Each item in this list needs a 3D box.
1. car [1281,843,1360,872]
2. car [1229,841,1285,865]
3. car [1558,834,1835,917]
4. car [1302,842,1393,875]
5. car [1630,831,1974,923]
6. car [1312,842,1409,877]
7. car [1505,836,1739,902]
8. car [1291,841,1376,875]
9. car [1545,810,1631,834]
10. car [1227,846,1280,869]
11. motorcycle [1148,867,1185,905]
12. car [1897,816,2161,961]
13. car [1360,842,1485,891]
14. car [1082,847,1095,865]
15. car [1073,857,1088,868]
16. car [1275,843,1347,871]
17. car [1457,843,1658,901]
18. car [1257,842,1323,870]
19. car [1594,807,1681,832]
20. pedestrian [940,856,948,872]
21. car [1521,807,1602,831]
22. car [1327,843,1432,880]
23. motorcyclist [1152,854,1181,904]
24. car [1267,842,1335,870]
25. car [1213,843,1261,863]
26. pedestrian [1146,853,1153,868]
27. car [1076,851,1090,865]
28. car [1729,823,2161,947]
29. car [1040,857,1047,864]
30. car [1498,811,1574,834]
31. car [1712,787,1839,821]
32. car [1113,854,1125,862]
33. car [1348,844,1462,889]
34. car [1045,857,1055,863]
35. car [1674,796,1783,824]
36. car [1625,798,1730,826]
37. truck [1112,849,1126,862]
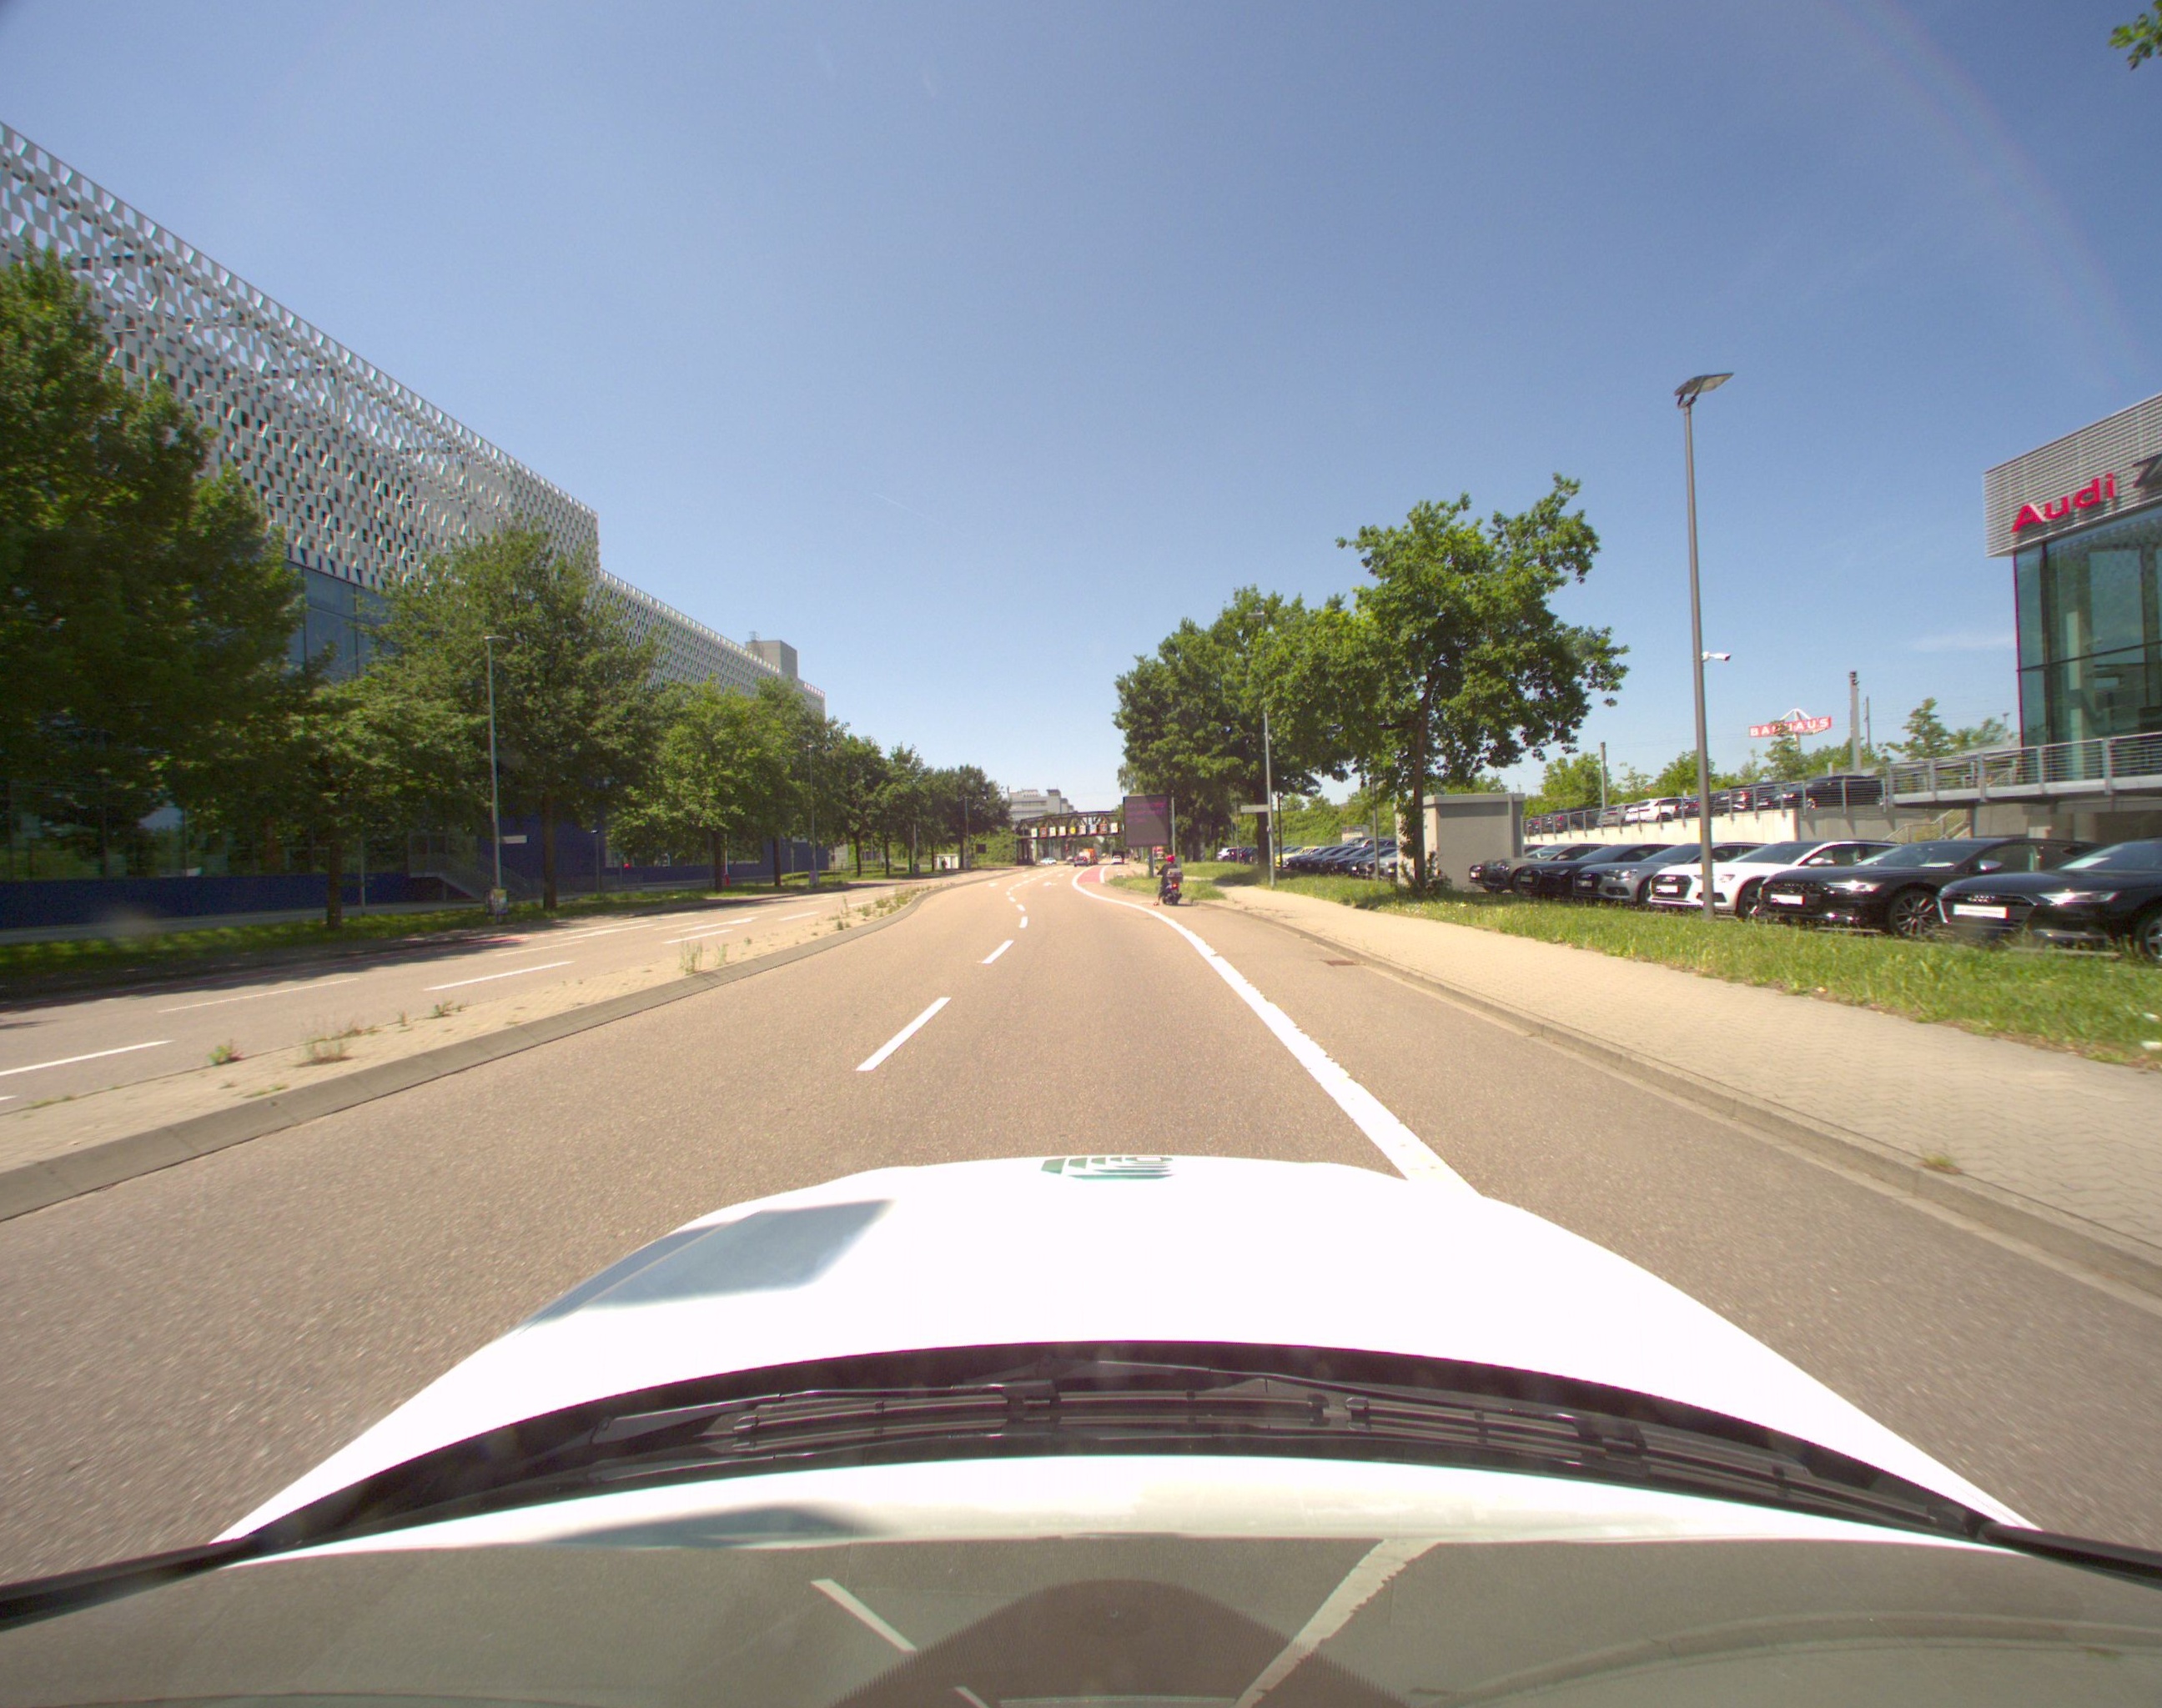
[{"bbox_3d":[13.773,0.219,47.042,3.977,1.423,1.796,3,0,-3],"label":"car"},{"bbox_3d":[13.523,-0.097,62.580,3.851,1.604,1.796,3,0,-3],"label":"car"},{"bbox_3d":[12.434,0.411,16.677,4.205,1.452,1.918,2,0,2],"label":"car"},{"bbox_3d":[13.556,0.219,41.591,3.977,1.440,1.796,3,0,-3],"label":"car"},{"bbox_3d":[12.268,0.366,14.095,4.205,1.342,1.918,2,0,2],"label":"car"},{"bbox_3d":[13.369,0.271,39.125,3.977,1.440,1.796,3,0,-3],"label":"car"},{"bbox_3d":[12.579,0.339,19.149,4.205,1.342,1.918,2,0,2],"label":"car"},{"bbox_3d":[13.669,0.227,44.245,3.977,1.624,1.796,3,0,-3],"label":"car"},{"bbox_3d":[29.636,-1.855,47.695,3.977,1.312,1.796,0,0,-3],"label":"car"},{"bbox_3d":[13.818,0.300,65.349,3.851,1.604,1.796,3,0,-3],"label":"car"},{"bbox_3d":[2.662,0.974,25.527,0.716,1.105,1.825,0,0,-8],"label":"motorcycle"},{"bbox_3d":[11.820,0.424,8.805,4.114,1.380,1.780,3,0,2],"label":"car"},{"bbox_3d":[13.018,0.472,31.158,3.977,1.618,1.796,3,0,-3],"label":"car"},{"bbox_3d":[1.264,0.360,136.218,2.065,2.854,6.767,-2,0,1],"label":"car"},{"bbox_3d":[-0.049,1.098,111.050,1.893,1.376,4.233,-2,0,1],"label":"car"},{"bbox_3d":[14.015,0.189,49.710,3.851,1.503,1.796,3,0,-3],"label":"car"},{"bbox_3d":[12.566,0.468,21.686,4.205,1.342,1.918,2,0,2],"label":"car"},{"bbox_3d":[13.988,0.121,54.673,3.851,1.604,1.796,3,0,-3],"label":"car"},{"bbox_3d":[29.179,-1.798,42.760,3.515,1.239,1.675,0,0,-3],"label":"car"},{"bbox_3d":[-16.535,1.198,98.059,0.740,1.884,0.578,-2,0,2],"label":"pedestrian"},{"bbox_3d":[29.673,-2.158,50.381,3.977,1.311,1.796,-2,0,-3],"label":"car"},{"bbox_3d":[13.274,0.321,36.347,3.977,1.377,1.796,3,0,-3],"label":"car"},{"bbox_3d":[2.665,0.761,25.492,0.719,1.529,0.868,0,-1,-8],"label":"motorcyclist"},{"bbox_3d":[14.059,0.128,52.179,3.851,1.604,1.796,3,0,-3],"label":"car"},{"bbox_3d":[14.007,-0.108,73.310,3.851,1.604,1.796,3,0,-3],"label":"car"},{"bbox_3d":[6.441,0.577,76.369,0.621,1.374,0.564,-2,0,0],"label":"pedestrian"},{"bbox_3d":[0.297,0.542,118.871,1.986,2.013,4.001,-1,0,1],"label":"car"},{"bbox_3d":[12.056,0.402,11.500,4.205,1.385,1.918,3,0,2],"label":"car"},{"bbox_3d":[-10.180,1.701,223.216,1.710,1.732,3.806,-2,0,0],"label":"car"},{"bbox_3d":[29.776,-2.039,53.391,3.977,1.311,1.796,-2,0,-3],"label":"car"},{"bbox_3d":[29.485,-2.113,34.645,3.977,1.312,1.796,0,0,-3],"label":"car"},{"bbox_3d":[6.294,0.656,136.363,1.917,1.420,4.001,-1,0,1],"label":"car"},{"bbox_3d":[13.197,0.506,33.292,3.907,1.582,1.796,3,0,-3],"label":"car"},{"bbox_3d":[-6.805,1.285,176.347,1.990,1.376,3.994,-2,0,-4],"label":"car"},{"bbox_3d":[29.342,-1.985,36.960,3.715,1.130,1.682,0,0,-3],"label":"car"},{"bbox_3d":[29.152,-2.032,39.848,3.929,1.211,1.716,-1,0,-3],"label":"car"},{"bbox_3d":[6.719,0.253,145.705,2.449,2.410,7.137,0,0,2],"label":"truck"}]
